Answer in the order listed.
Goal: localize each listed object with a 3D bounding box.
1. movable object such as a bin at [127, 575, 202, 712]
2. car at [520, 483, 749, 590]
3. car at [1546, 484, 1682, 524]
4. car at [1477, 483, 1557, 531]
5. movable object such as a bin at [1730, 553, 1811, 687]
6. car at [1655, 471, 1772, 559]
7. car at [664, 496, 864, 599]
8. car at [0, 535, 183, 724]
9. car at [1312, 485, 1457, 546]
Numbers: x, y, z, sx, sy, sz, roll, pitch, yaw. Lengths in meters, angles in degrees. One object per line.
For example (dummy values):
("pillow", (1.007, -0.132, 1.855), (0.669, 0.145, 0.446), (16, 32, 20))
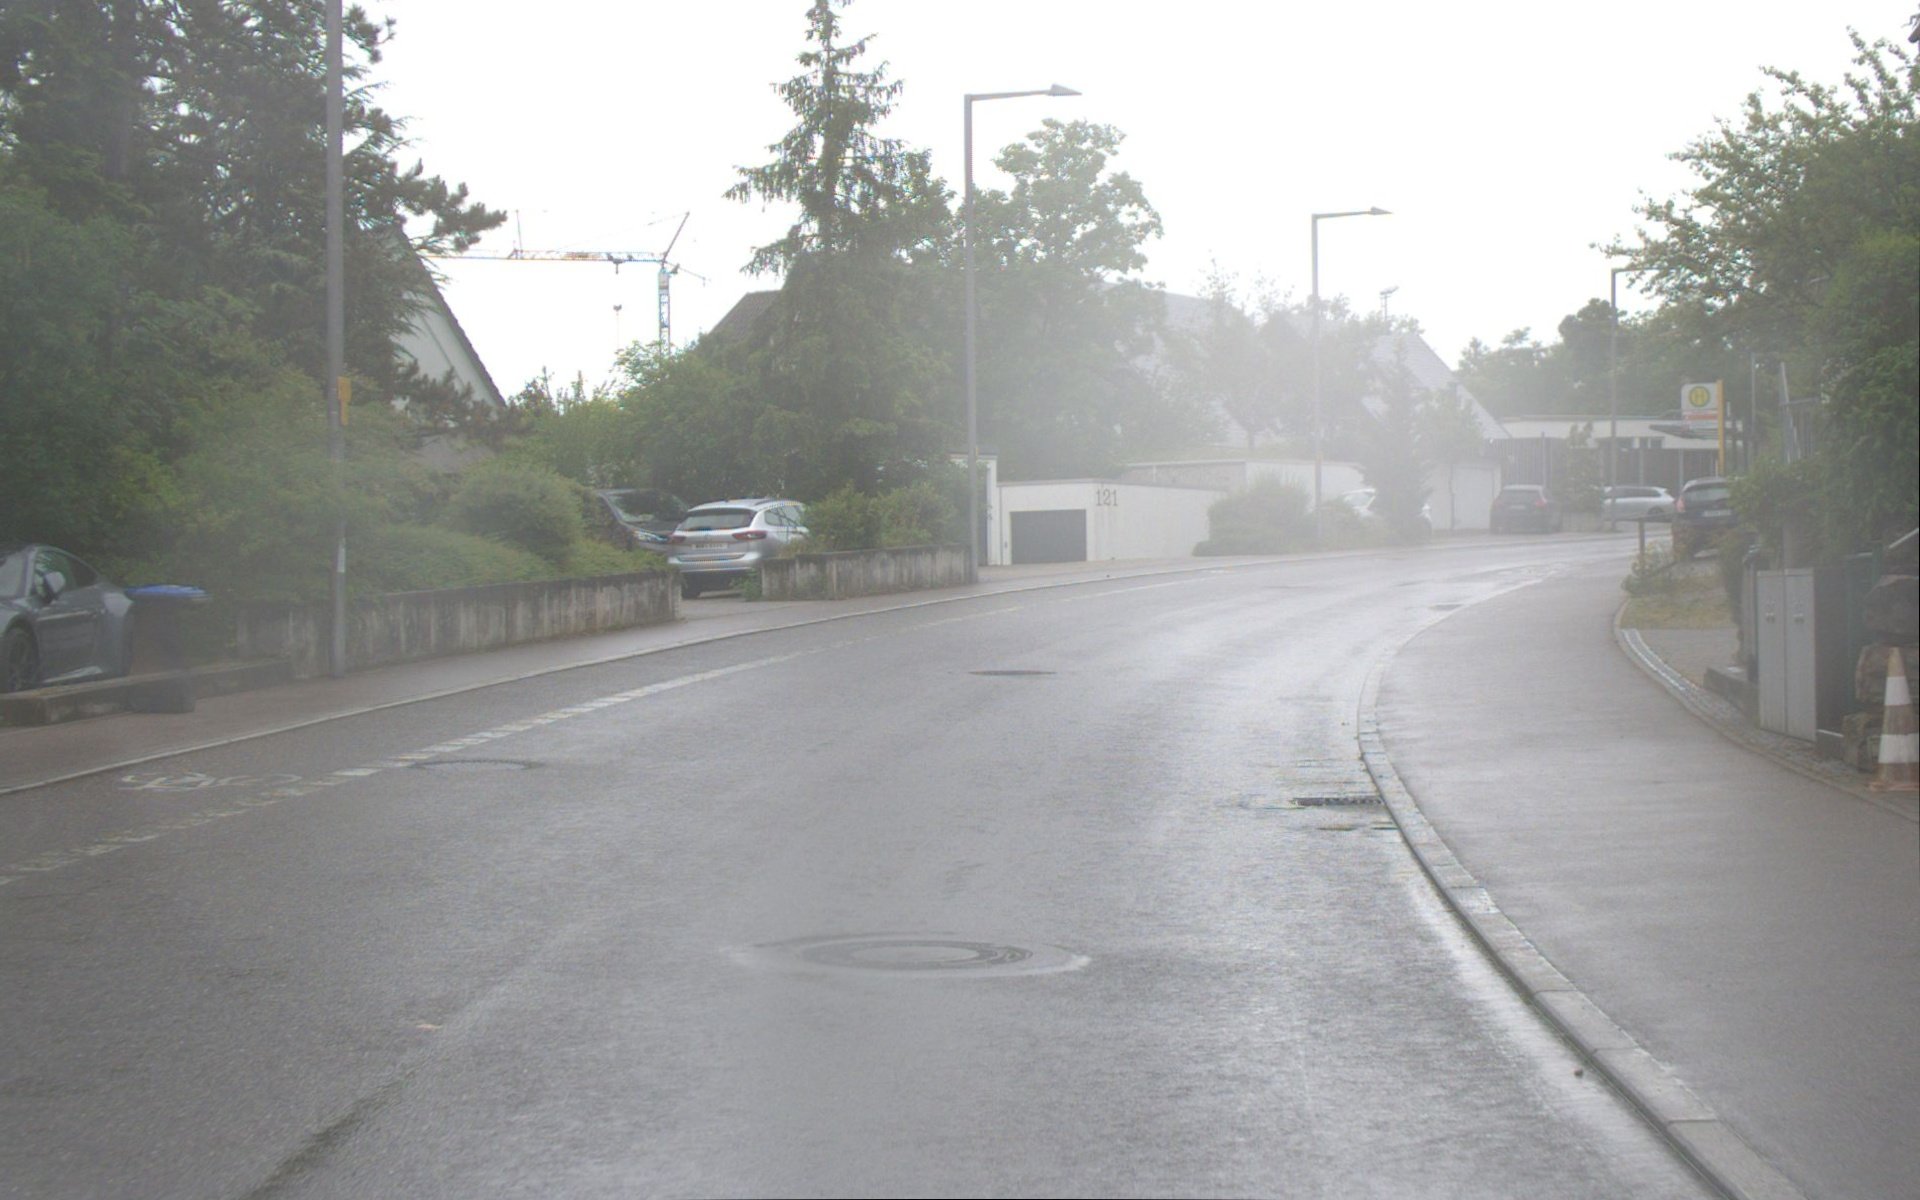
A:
("movable object such as a bin", (-5.847, 0.313, 25.287), (0.370, 0.985, 0.558), (-1, 1, 4))
("car", (-5.812, -1.122, 61.085), (1.995, 1.831, 3.998), (-2, 2, -43))
("car", (23.884, -3.517, 125.605), (4.517, 1.437, 1.762), (0, 2, -13))
("car", (16.952, -2.835, 104.566), (1.835, 1.401, 4.257), (0, 2, 17))
("movable object such as a bin", (5.672, 0.134, 24.077), (0.492, 0.919, 0.457), (-1, 1, 7))
("car", (13.818, -1.570, 62.901), (1.706, 1.449, 4.018), (-3, 1, 17))
("car", (-3.051, -0.859, 54.381), (1.736, 1.546, 3.996), (-1, 2, 19))
("car", (-7.583, 0.200, 25.885), (1.994, 1.303, 4.432), (-1, 1, 7))
("car", (11.349, -2.275, 91.751), (1.709, 1.548, 4.379), (1, 2, 40))
